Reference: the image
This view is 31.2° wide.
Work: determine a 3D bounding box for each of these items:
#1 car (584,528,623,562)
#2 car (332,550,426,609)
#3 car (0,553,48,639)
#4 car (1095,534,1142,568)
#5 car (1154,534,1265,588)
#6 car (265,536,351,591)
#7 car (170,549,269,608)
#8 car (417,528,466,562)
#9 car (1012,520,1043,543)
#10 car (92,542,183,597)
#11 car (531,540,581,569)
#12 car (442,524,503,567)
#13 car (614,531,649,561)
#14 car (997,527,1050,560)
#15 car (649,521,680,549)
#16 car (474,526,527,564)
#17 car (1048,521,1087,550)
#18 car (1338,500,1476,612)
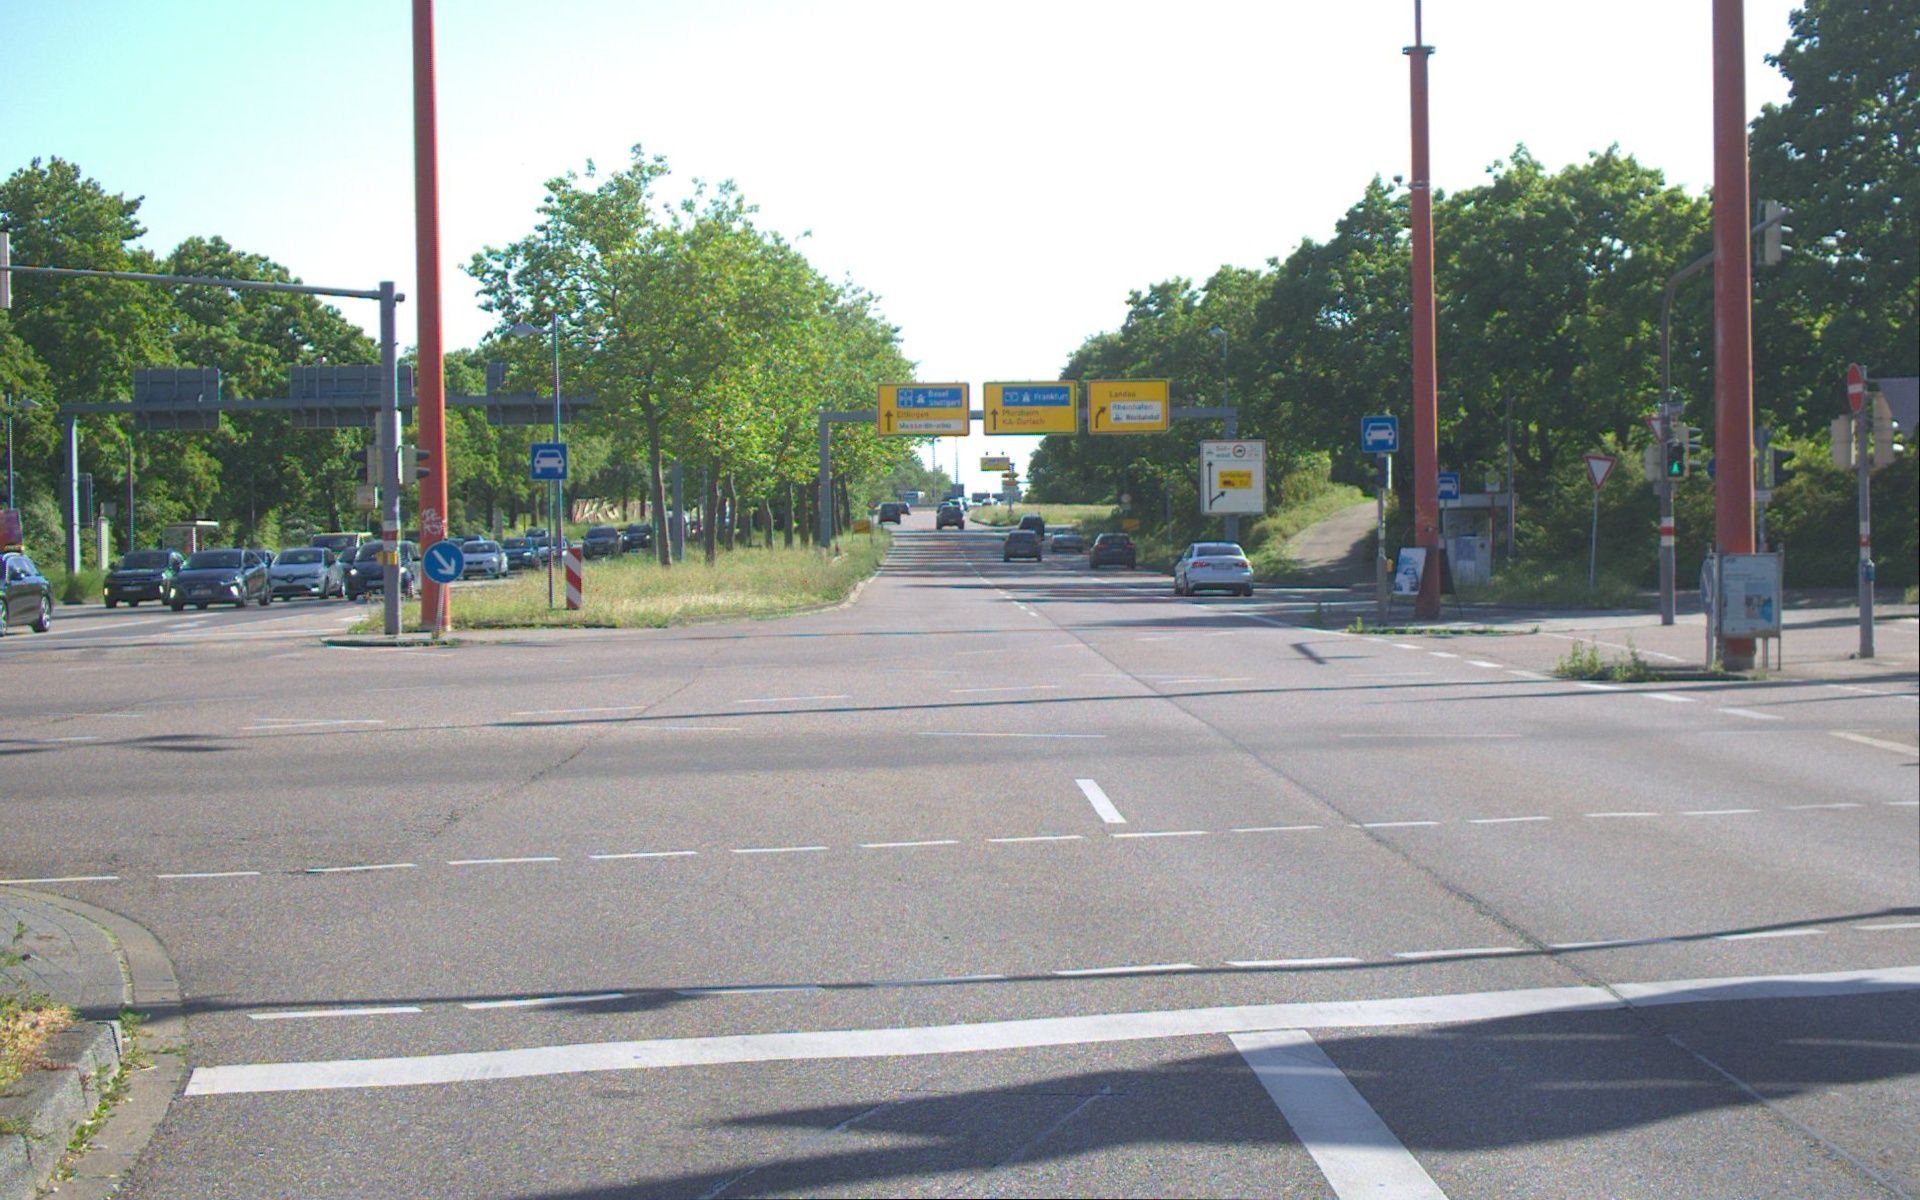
[{"bbox_3d":[-18.855,-2.923,181.699,1.625,1.733,4.000,-1,1,0],"label":"car"},{"bbox_3d":[-14.943,-0.548,88.615,1.701,1.416,4.000,2,1,0],"label":"car"},{"bbox_3d":[-17.663,-0.089,61.020,1.876,1.480,4.606,0,1,-2],"label":"car"},{"bbox_3d":[6.501,-2.027,141.325,1.738,1.337,3.082,-1,1,0],"label":"car"},{"bbox_3d":[6.535,-1.034,90.612,2.054,1.366,4.393,-1,1,-8],"label":"car"},{"bbox_3d":[-17.917,-1.012,94.540,1.605,1.454,3.950,-1,1,0],"label":"car"},{"bbox_3d":[-18.017,-0.537,83.819,1.548,1.372,4.263,-1,1,-1],"label":"car"},{"bbox_3d":[-22.433,-2.364,148.882,1.628,1.445,3.434,0,1,-1],"label":"car"},{"bbox_3d":[4.671,-4.751,237.247,1.994,1.535,4.000,0,1,4],"label":"car"},{"bbox_3d":[-22.680,-0.852,94.887,1.544,1.428,3.886,-2,1,0],"label":"car"},{"bbox_3d":[-18.344,-2.082,156.154,2.003,1.303,4.001,-1,1,-3],"label":"car"},{"bbox_3d":[-18.650,-2.070,131.593,1.704,1.590,4.000,0,1,1],"label":"car"},{"bbox_3d":[-19.197,-3.135,201.110,1.657,1.741,4.000,0,1,1],"label":"car"},{"bbox_3d":[2.979,-2.667,162.370,1.993,1.491,4.001,-1,1,-6],"label":"car"},{"bbox_3d":[-18.720,-4.110,217.602,1.607,1.724,3.789,0,1,0],"label":"car"},{"bbox_3d":[-19.249,-2.286,144.024,1.704,1.553,3.803,0,1,0],"label":"car"},{"bbox_3d":[5.811,-3.470,186.006,1.993,1.535,4.000,0,1,0],"label":"car"},{"bbox_3d":[7.818,-0.784,59.893,1.995,1.881,3.998,0,1,13],"label":"car"}]
